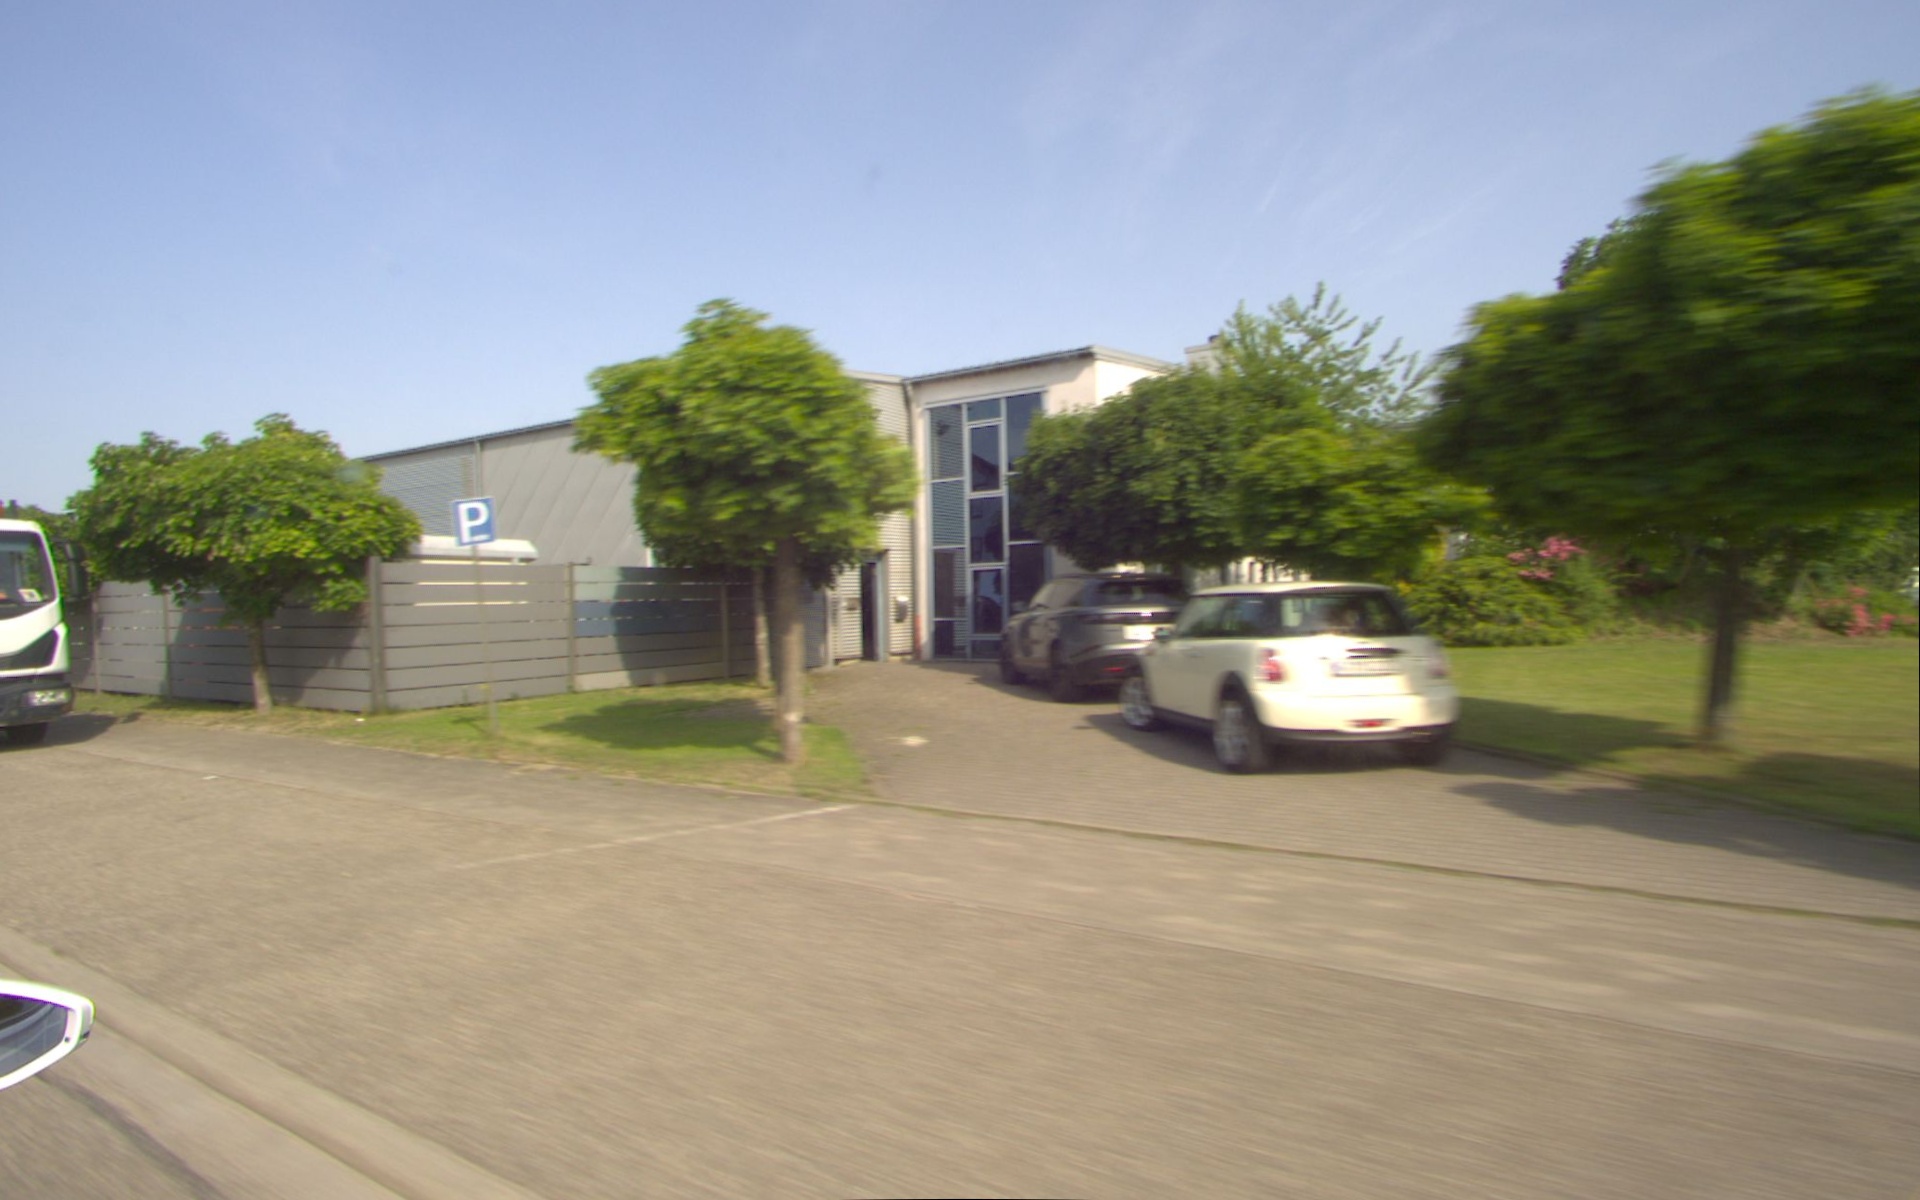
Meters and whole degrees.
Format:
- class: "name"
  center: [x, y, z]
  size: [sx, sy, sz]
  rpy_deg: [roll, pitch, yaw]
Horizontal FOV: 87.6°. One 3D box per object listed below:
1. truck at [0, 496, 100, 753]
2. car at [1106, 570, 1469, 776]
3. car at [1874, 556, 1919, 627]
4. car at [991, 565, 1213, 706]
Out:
- class: "truck"
  center: [-13.092, 0.319, 11.838]
  size: [6.413, 2.718, 2.355]
  rpy_deg: [-1, 1, 30]
- class: "car"
  center: [2.584, 0.498, 8.864]
  size: [1.655, 1.399, 3.696]
  rpy_deg: [-1, 0, -6]
- class: "car"
  center: [28.481, -0.199, 28.162]
  size: [3.639, 1.983, 1.683]
  rpy_deg: [2, 3, 14]
- class: "car"
  center: [1.756, 0.398, 14.000]
  size: [1.656, 1.610, 4.529]
  rpy_deg: [-2, 1, -11]
